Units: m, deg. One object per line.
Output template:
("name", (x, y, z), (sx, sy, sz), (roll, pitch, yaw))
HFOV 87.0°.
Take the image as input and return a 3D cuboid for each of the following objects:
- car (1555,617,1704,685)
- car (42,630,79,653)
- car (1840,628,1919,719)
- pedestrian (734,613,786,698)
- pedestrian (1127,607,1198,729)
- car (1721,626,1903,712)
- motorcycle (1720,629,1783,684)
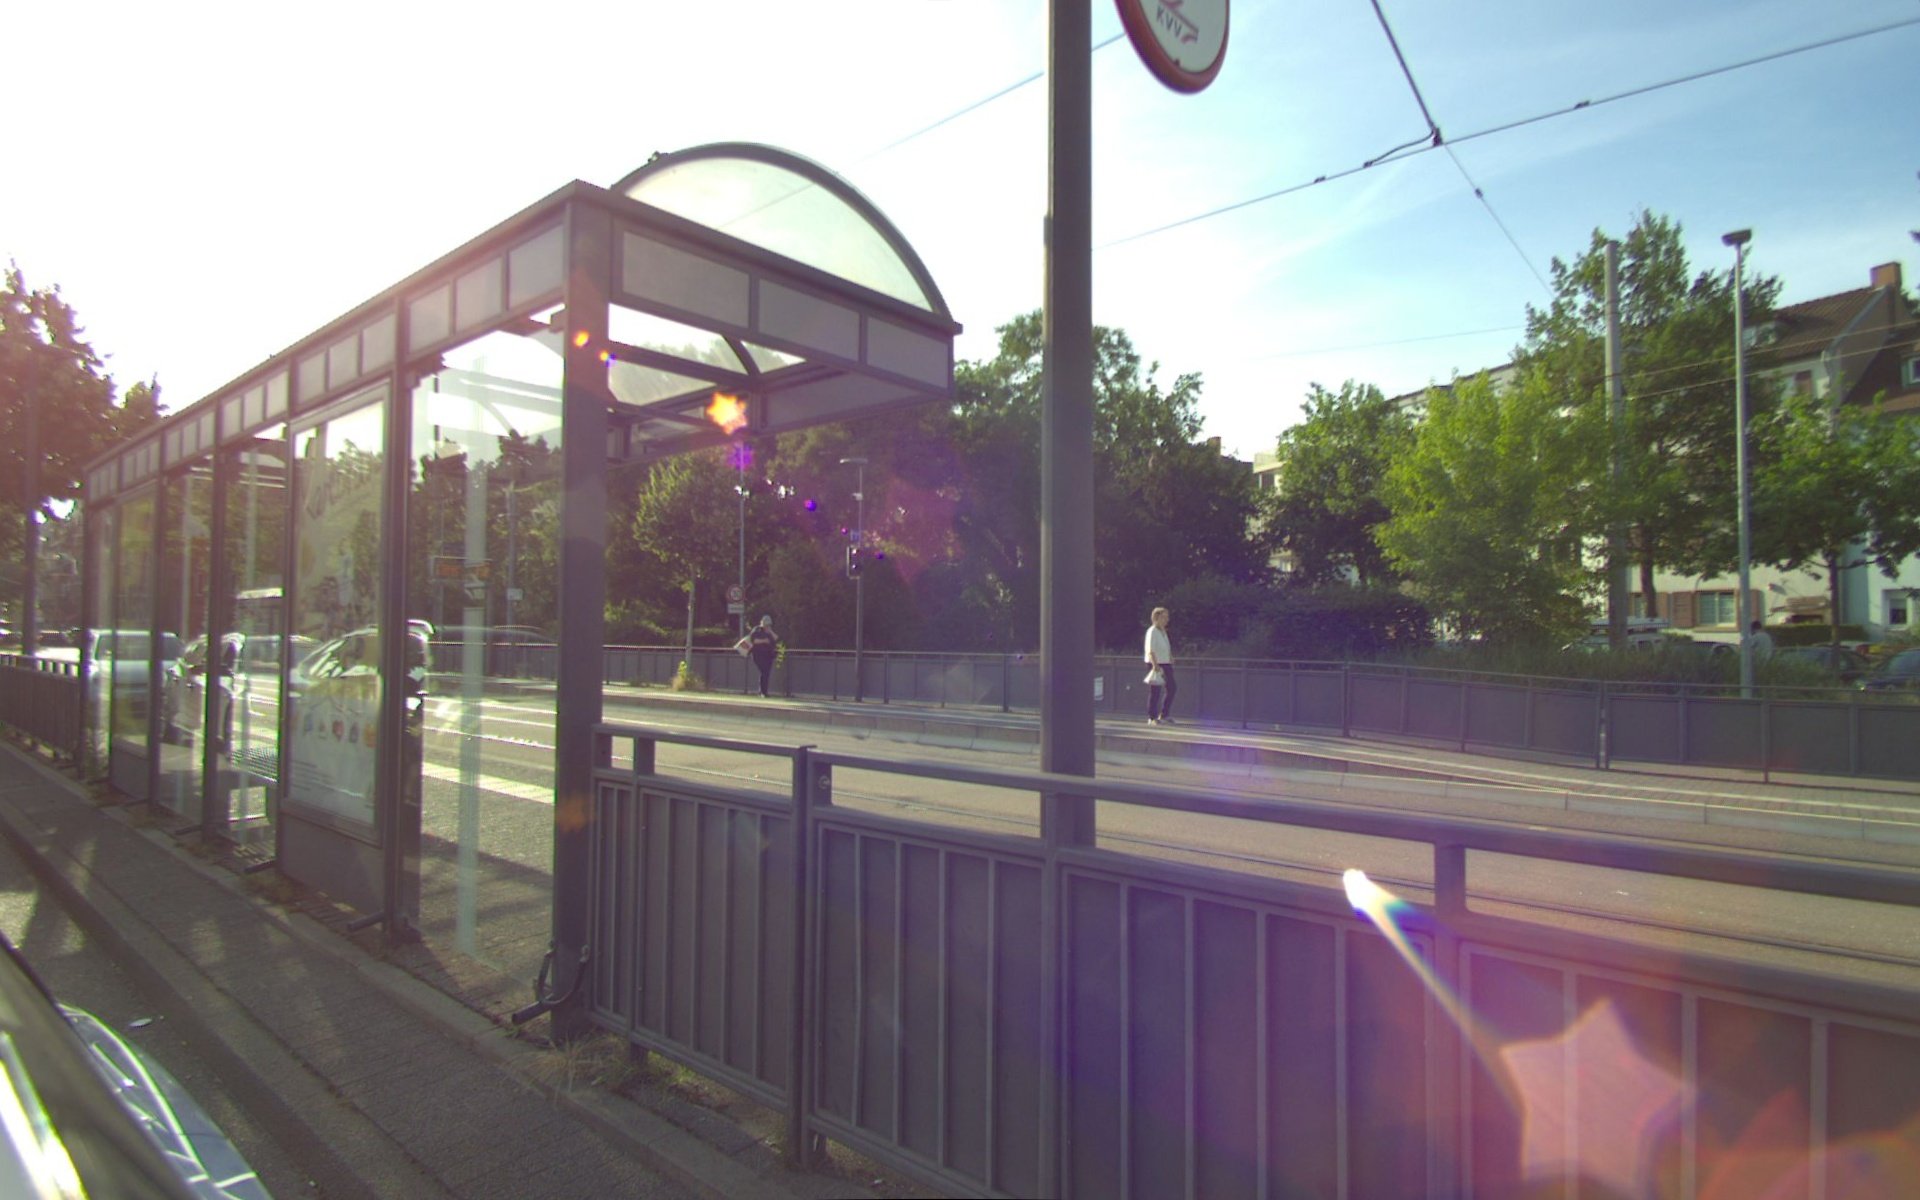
("car", (18.461, 1.393, 27.885), (3.931, 1.767, 1.860), (2, -3, -30))
("car", (-82.553, 3.821, 92.843), (3.997, 2.029, 1.973), (-2, -3, 41))
("car", (20.218, 1.494, 20.914), (3.931, 1.767, 1.860), (2, -3, -30))
("pedestrian", (-3.984, 1.096, 20.195), (0.689, 1.640, 0.727), (-2, -3, 41))
("pedestrian", (2.833, 0.933, 14.156), (0.727, 1.640, 0.699), (-2, -3, 41))
("car", (19.006, 1.489, 22.567), (3.931, 1.767, 1.860), (2, -3, -30))
("motorcycle", (15.687, 1.105, 20.073), (0.919, 1.059, 0.495), (-1, -3, 35))
